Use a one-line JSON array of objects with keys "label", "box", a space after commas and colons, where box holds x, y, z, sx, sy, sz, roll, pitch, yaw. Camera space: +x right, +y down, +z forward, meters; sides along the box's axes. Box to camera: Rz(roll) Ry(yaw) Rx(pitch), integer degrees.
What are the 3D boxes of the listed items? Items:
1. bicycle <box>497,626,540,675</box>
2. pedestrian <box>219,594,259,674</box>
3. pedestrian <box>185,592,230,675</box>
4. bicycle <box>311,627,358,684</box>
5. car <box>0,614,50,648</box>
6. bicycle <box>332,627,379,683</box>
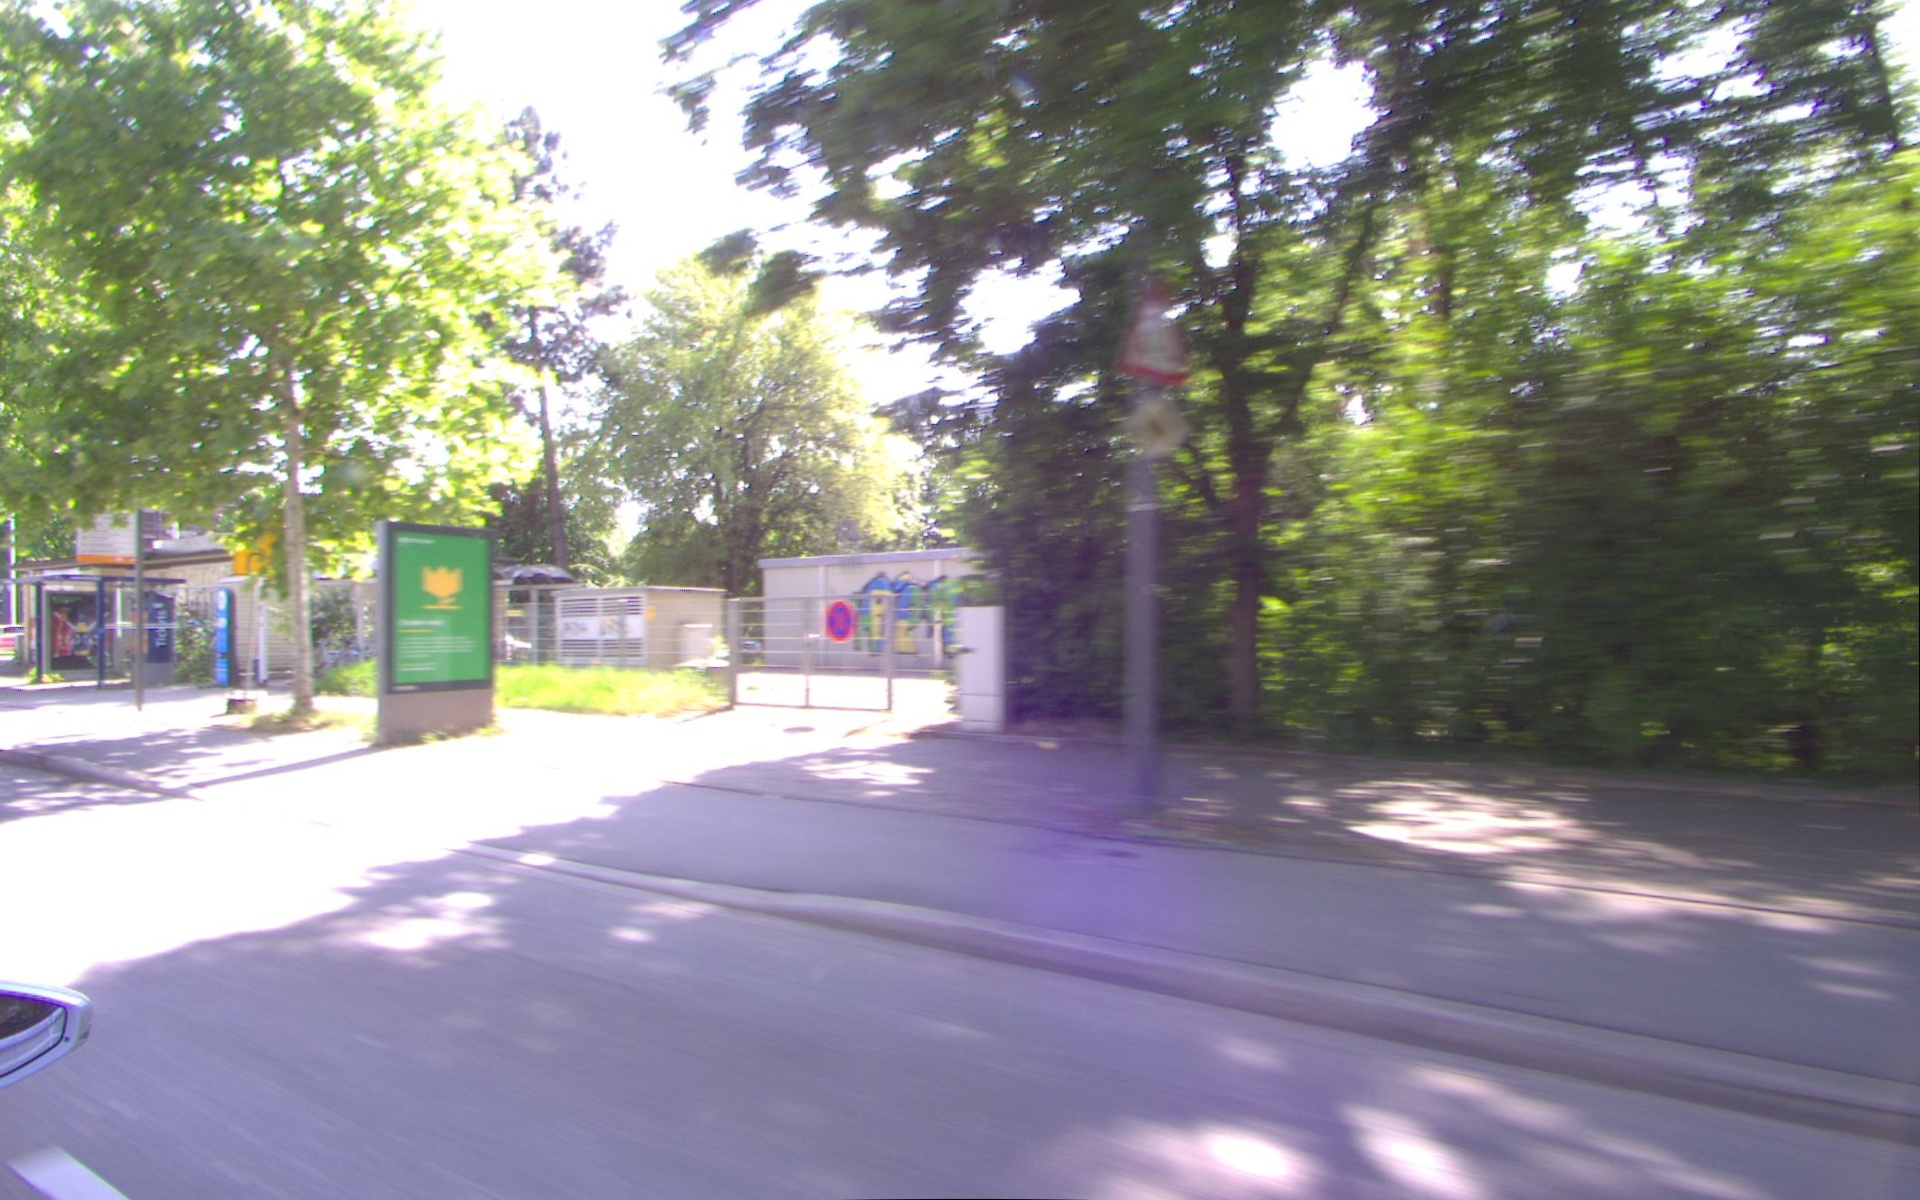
[{"label": "bicycle", "box": [-10.986, 1.248, 24.921, 1.156, 1.196, 0.388, 0, -1, 33]}, {"label": "pedestrian", "box": [-17.449, 0.818, 24.232, 0.588, 1.921, 0.612, 0, 0, 29]}, {"label": "pedestrian", "box": [-17.701, 0.788, 23.559, 0.683, 1.921, 0.612, 0, 0, 29]}, {"label": "bicycle", "box": [-13.442, 1.185, 21.520, 1.156, 1.196, 0.388, 0, -1, 33]}, {"label": "car", "box": [-48.640, 1.551, 50.478, 1.767, 1.694, 3.771, 0, -2, 32]}, {"label": "bicycle", "box": [-13.249, 1.193, 21.943, 1.156, 1.196, 0.388, 0, -1, 33]}]
